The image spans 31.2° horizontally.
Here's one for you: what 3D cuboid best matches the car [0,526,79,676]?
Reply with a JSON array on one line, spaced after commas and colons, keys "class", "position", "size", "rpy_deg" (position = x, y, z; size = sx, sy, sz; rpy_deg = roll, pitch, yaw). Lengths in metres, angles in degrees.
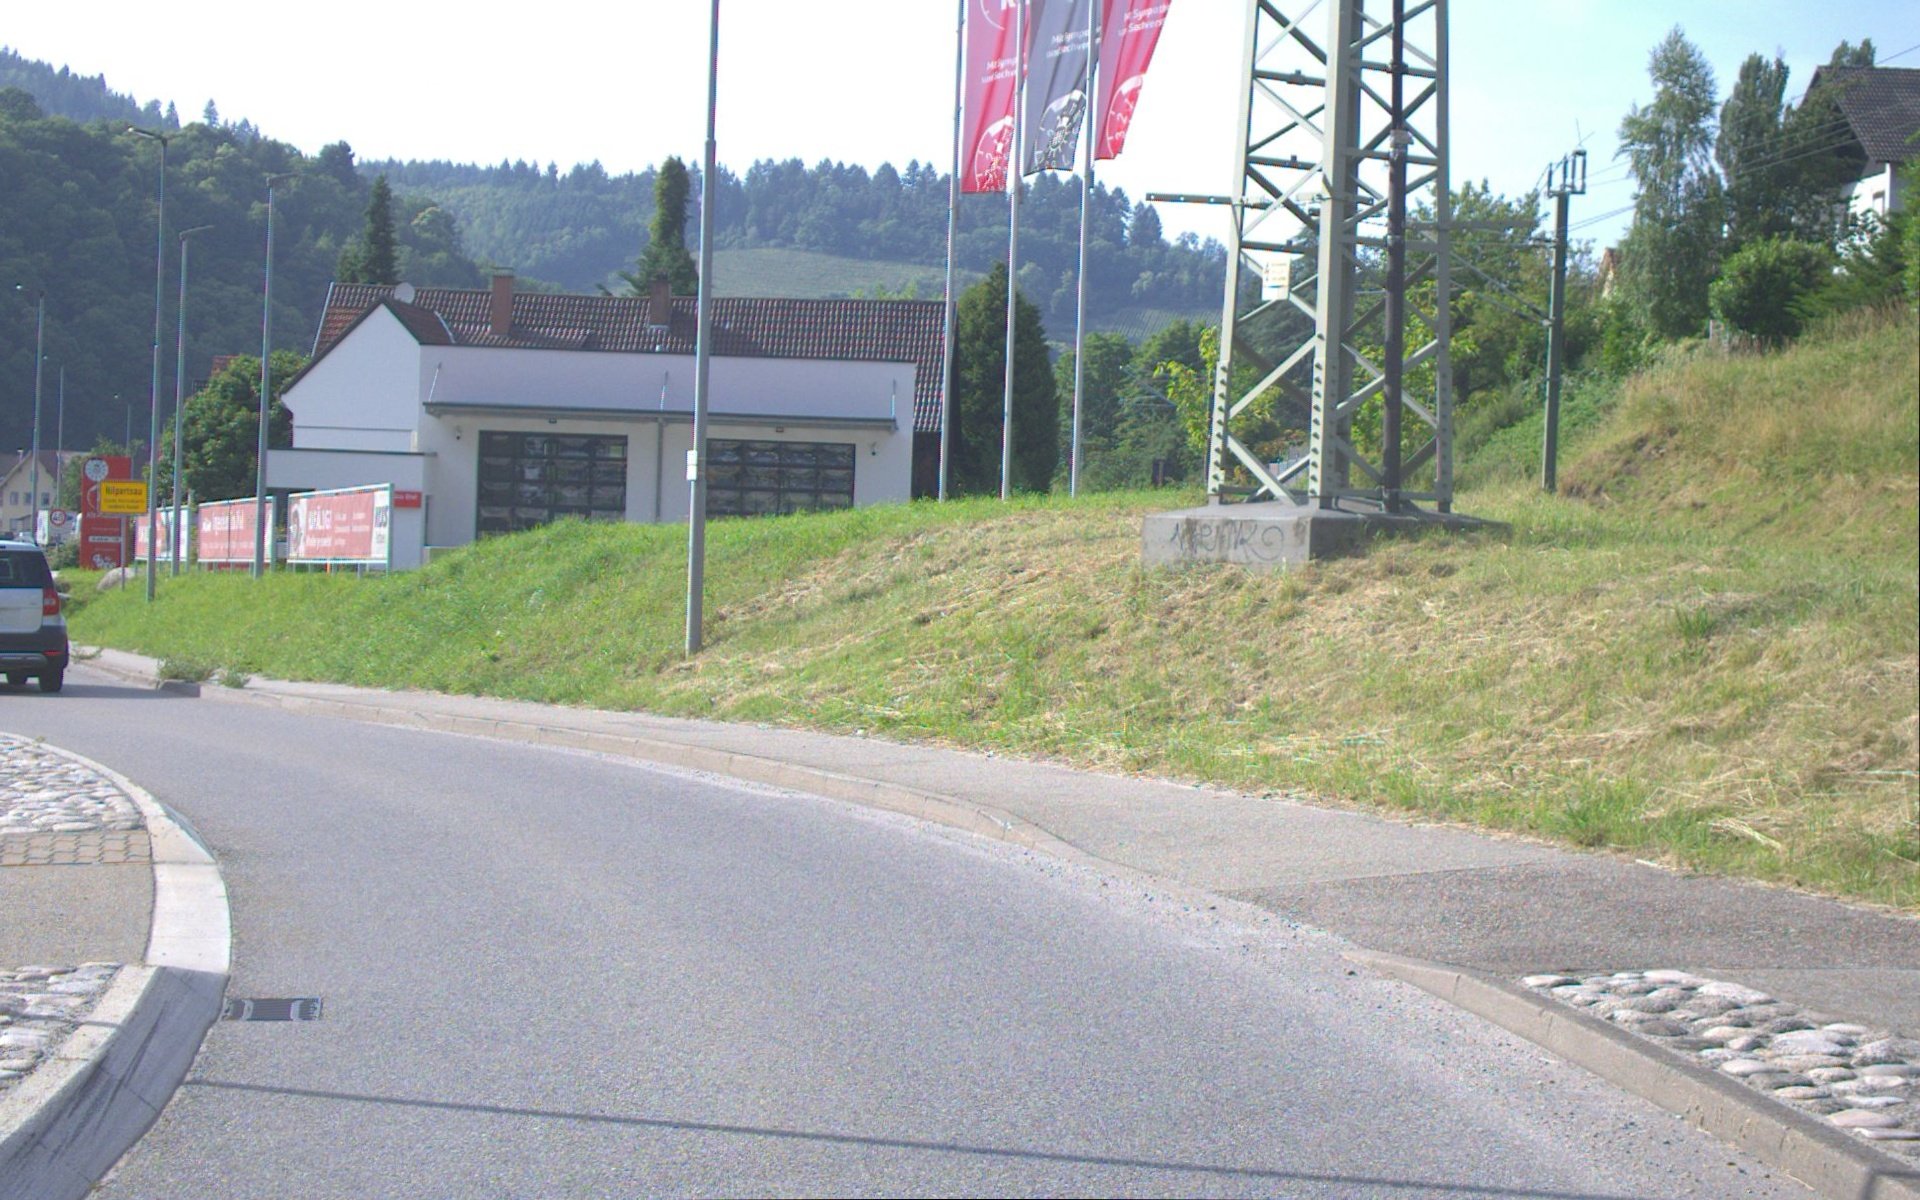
[{"class": "car", "position": [-10.851, -0.029, 37.842], "size": [1.860, 1.539, 4.374], "rpy_deg": [2, 0, -19]}]
